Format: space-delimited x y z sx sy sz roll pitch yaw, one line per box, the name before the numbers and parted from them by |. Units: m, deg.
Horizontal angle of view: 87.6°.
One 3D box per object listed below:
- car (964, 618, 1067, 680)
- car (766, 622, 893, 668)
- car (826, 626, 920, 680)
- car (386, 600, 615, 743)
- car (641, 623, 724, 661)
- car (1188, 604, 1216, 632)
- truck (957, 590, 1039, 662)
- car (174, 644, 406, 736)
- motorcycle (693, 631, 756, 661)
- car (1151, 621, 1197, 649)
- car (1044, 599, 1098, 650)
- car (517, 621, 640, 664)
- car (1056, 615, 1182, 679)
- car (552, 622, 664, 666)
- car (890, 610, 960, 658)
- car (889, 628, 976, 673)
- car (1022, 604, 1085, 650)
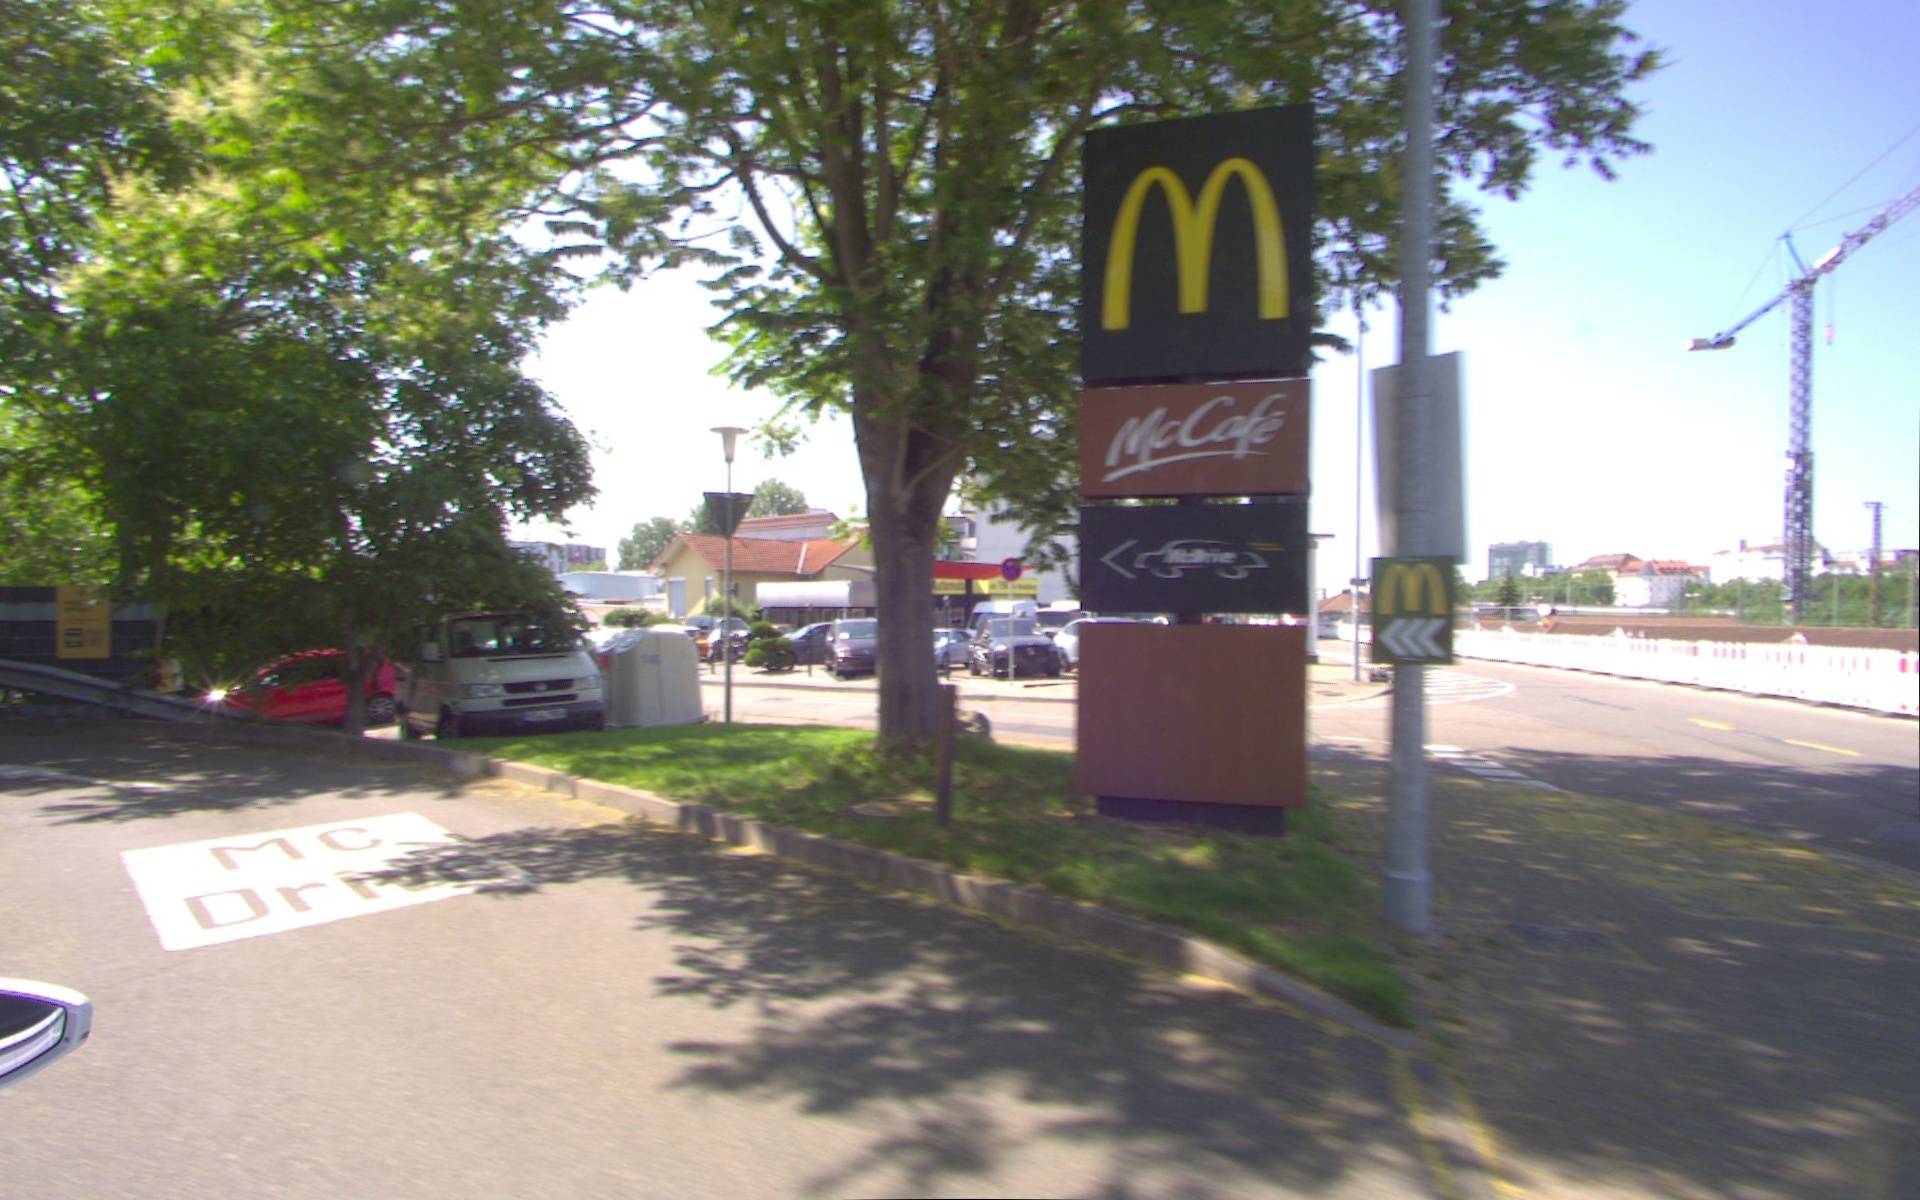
car | 1.503 1.372 28.969 2.015 1.615 4.422 2 -1 -9
car | -4.859 1.673 37.223 4.267 1.605 1.993 2 -1 -24
car | -2.604 1.586 30.802 1.760 1.529 3.999 1 -2 12
car | -6.599 0.846 14.025 1.934 1.604 4.994 2 -1 -36
car | -12.931 1.940 46.573 3.958 1.605 1.982 0 -2 45
car | 22.941 1.720 95.076 2.498 2.552 5.116 1 -1 13
truck | 1.807 1.160 44.831 2.234 2.941 5.937 2 -1 16
car | -12.437 1.599 18.710 1.470 1.397 3.384 2 2 44
motorcycle | -10.248 1.998 43.759 0.985 1.242 2.704 1 -2 34
car | 13.108 2.131 61.561 1.826 1.650 4.001 1 -1 -1
car | 5.342 1.151 47.520 2.102 2.314 4.709 1 -1 12
car | -16.306 1.822 43.016 1.973 1.747 4.628 0 -2 35
car | 4.642 1.363 29.871 1.967 1.747 3.990 2 -1 -21
car | -14.546 1.824 41.537 1.973 1.747 3.978 0 -2 35
car | -1.508 1.519 45.041 1.963 2.039 4.494 1 -1 13
car | -0.925 1.797 36.442 1.763 1.506 3.992 1 -2 21
car | 3.944 1.121 41.645 1.848 1.760 4.719 2 -1 14
